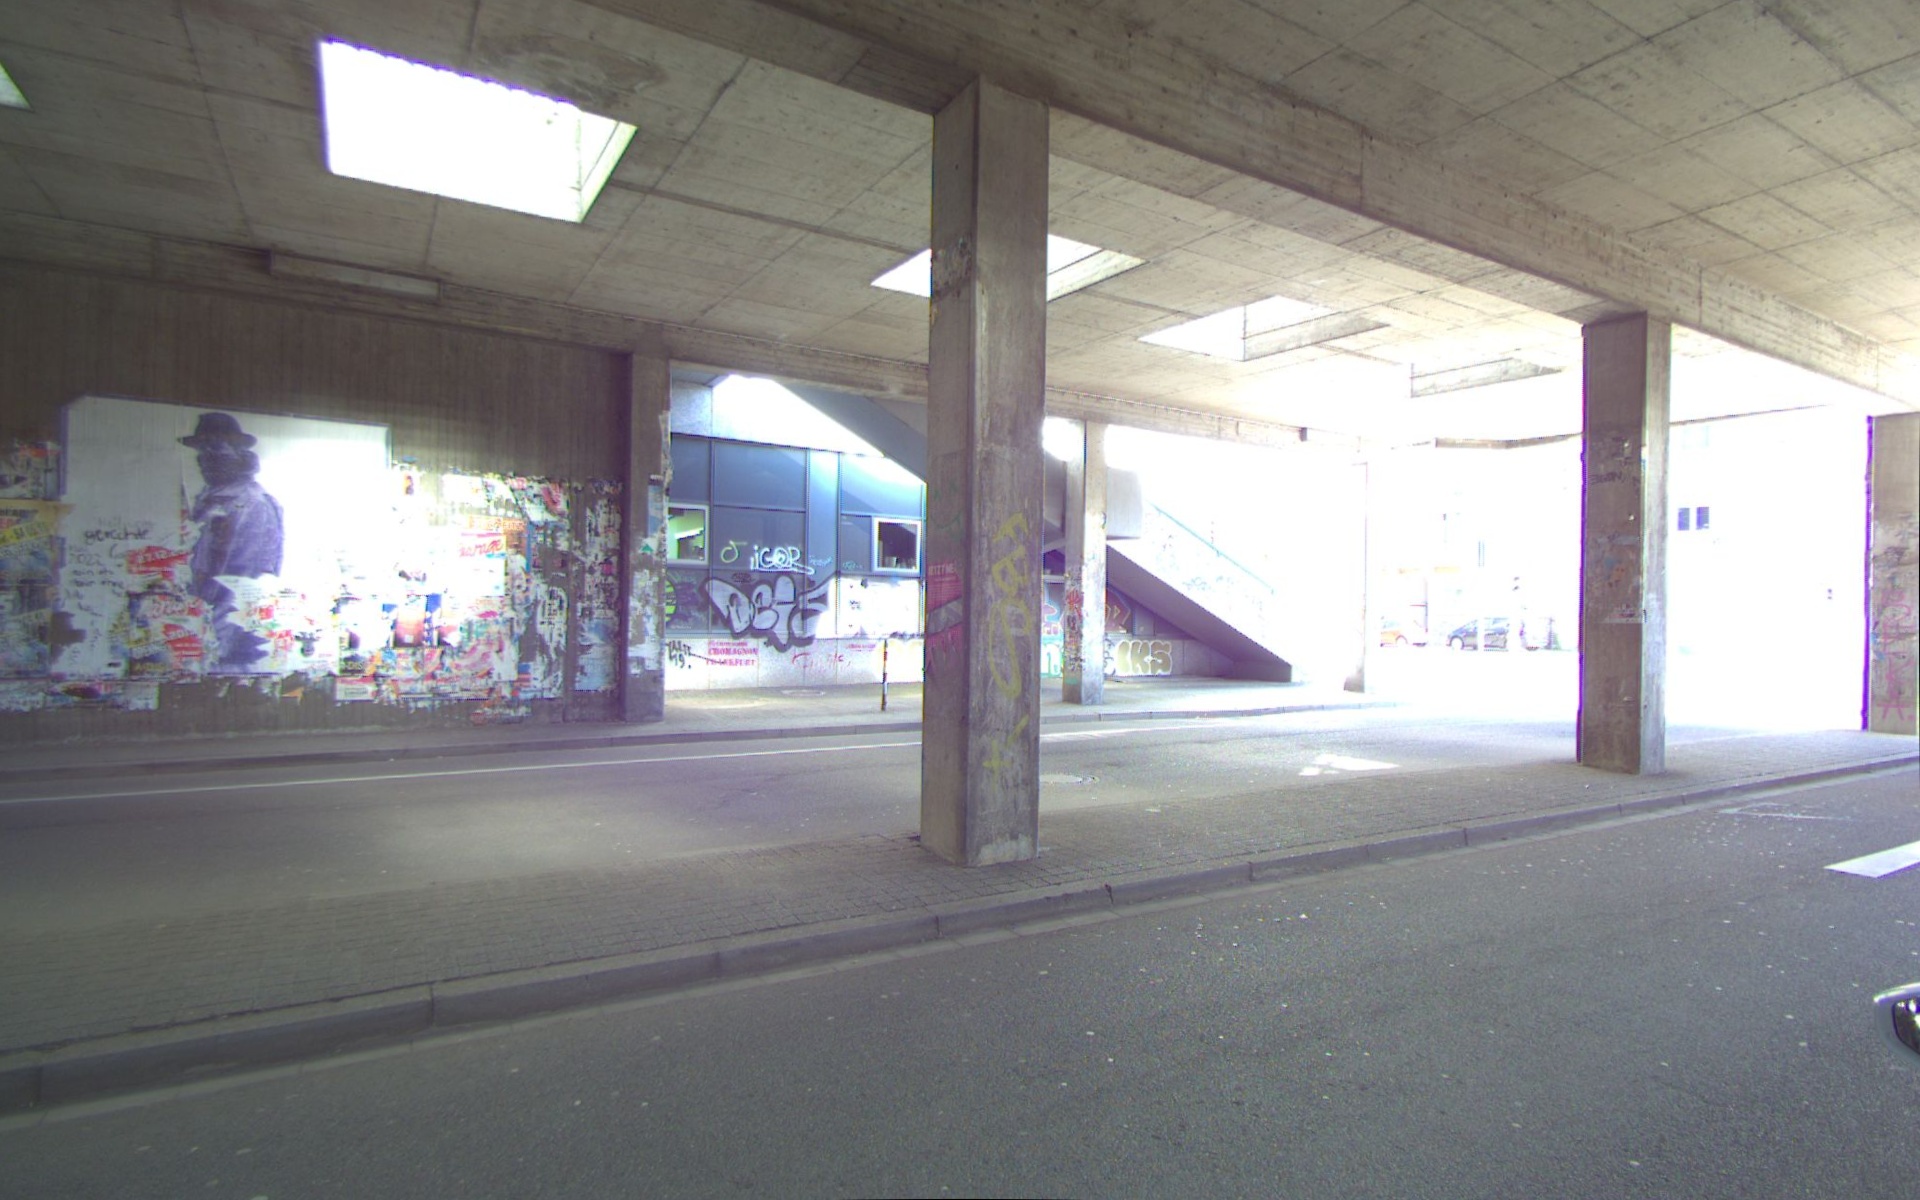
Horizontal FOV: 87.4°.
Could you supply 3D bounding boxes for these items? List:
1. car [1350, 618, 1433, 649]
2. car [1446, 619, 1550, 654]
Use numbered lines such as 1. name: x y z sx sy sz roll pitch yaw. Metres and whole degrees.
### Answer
1. car: 22.549 1.722 52.605 1.730 1.495 3.741 2 -1 -31
2. car: 25.461 1.706 47.650 1.718 1.495 4.089 2 -1 -31
